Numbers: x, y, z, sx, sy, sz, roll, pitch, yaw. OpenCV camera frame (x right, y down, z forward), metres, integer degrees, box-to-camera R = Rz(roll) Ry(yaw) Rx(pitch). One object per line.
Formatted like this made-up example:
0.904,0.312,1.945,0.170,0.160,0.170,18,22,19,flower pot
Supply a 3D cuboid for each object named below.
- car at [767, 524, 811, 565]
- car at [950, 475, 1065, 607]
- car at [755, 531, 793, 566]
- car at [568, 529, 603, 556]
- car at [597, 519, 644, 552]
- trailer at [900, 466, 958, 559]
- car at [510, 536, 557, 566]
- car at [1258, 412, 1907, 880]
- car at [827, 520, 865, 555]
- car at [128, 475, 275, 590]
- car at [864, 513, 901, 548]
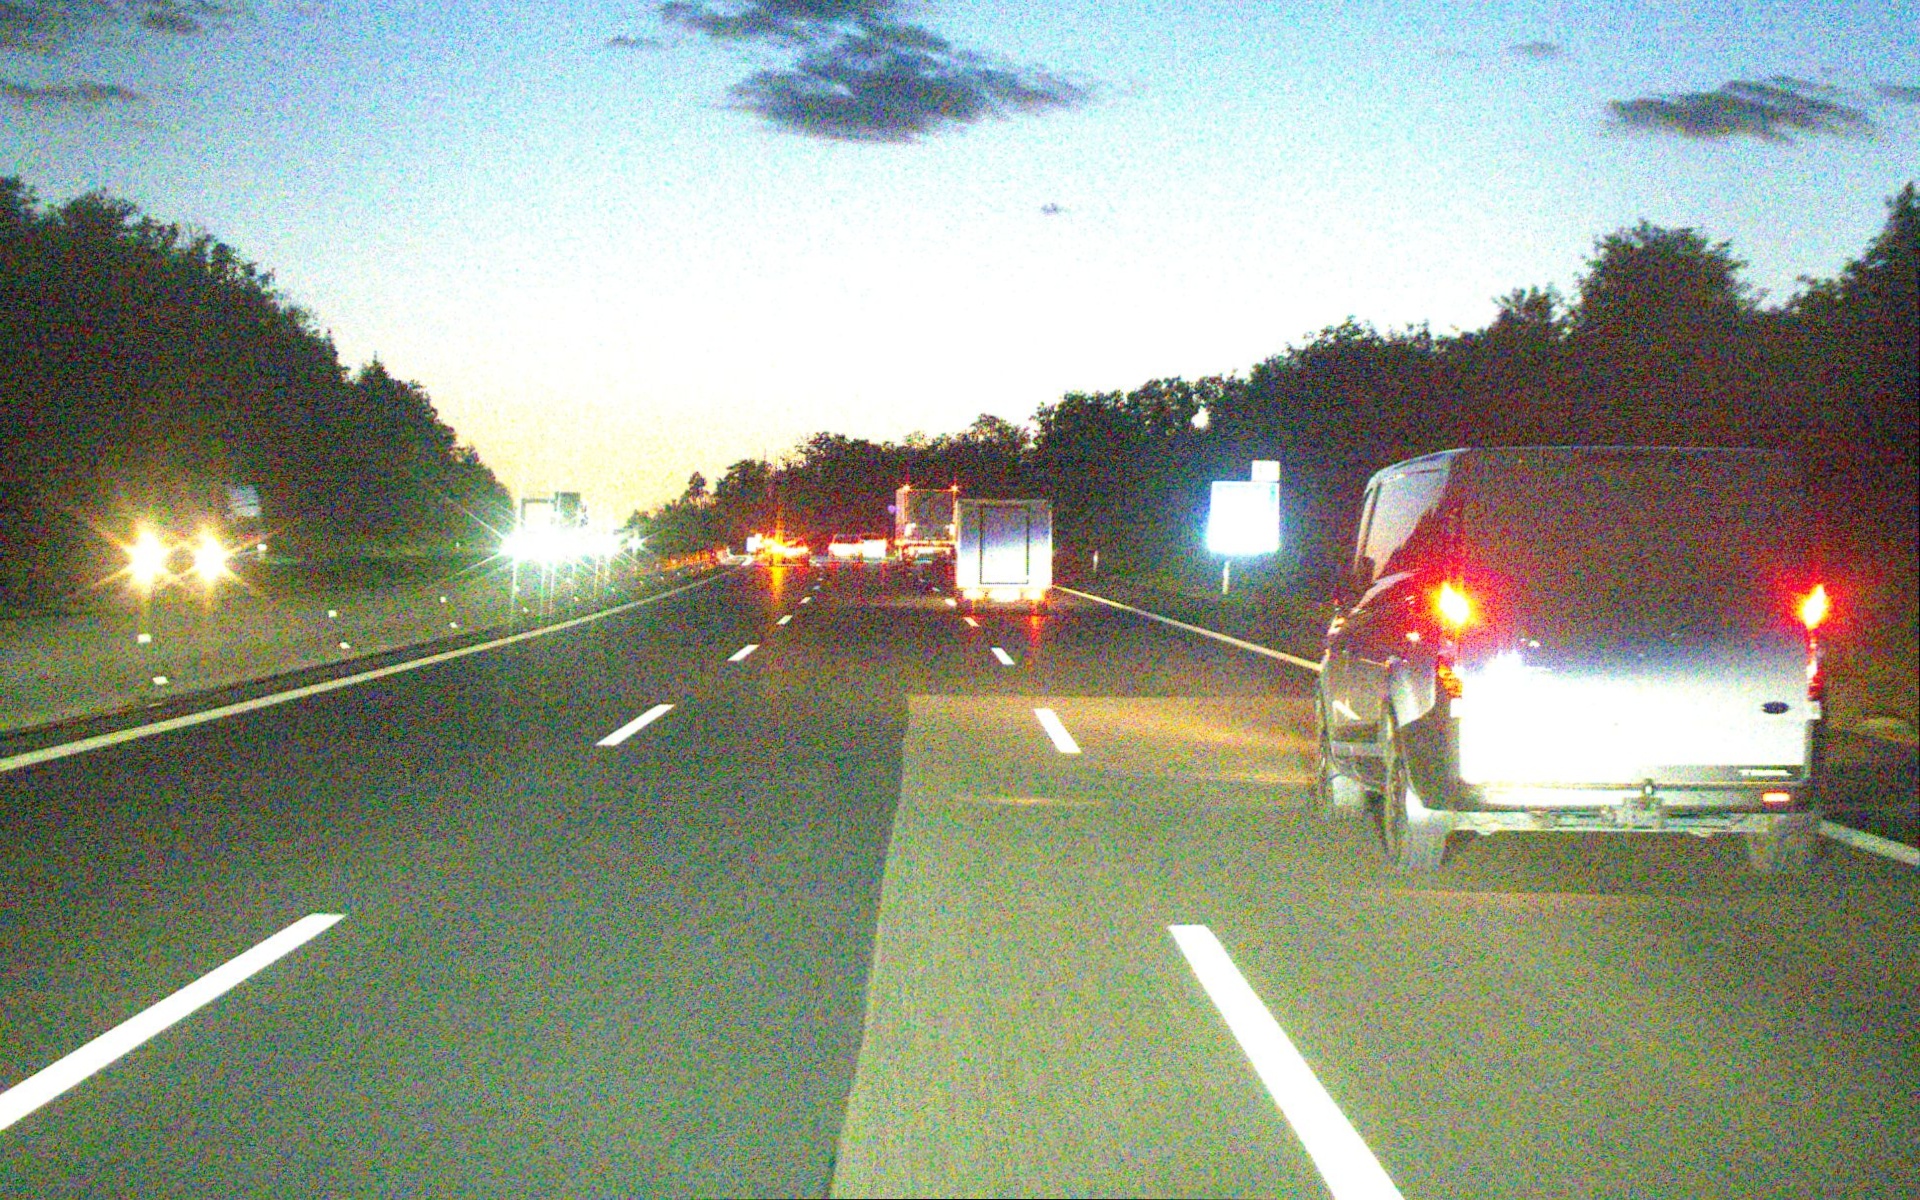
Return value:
-8.022,-2.578,160.871,1.993,1.788,4.000,1,-1,-3,car
0.945,-1.227,72.052,2.032,2.638,5.725,1,1,-3,car
-10.518,-2.915,194.671,1.993,1.810,4.000,1,-1,-2,car
-23.786,-3.638,218.456,2.010,1.664,4.949,1,1,-3,car
-17.522,-3.346,177.448,2.010,1.664,4.483,0,1,-1,car
-1.607,-4.490,181.474,2.829,4.242,17.048,1,-1,0,trailer
-21.255,-2.451,171.342,2.010,1.462,4.209,1,1,-3,car
2.937,0.162,17.678,2.115,1.994,5.664,1,1,-2,car
-6.140,-3.357,185.194,1.993,1.788,4.000,1,-1,-2,car
-17.363,-1.541,78.976,2.101,2.509,6.216,1,1,-1,car
-5.015,-4.470,221.114,1.993,2.110,4.001,1,-1,-6,car
